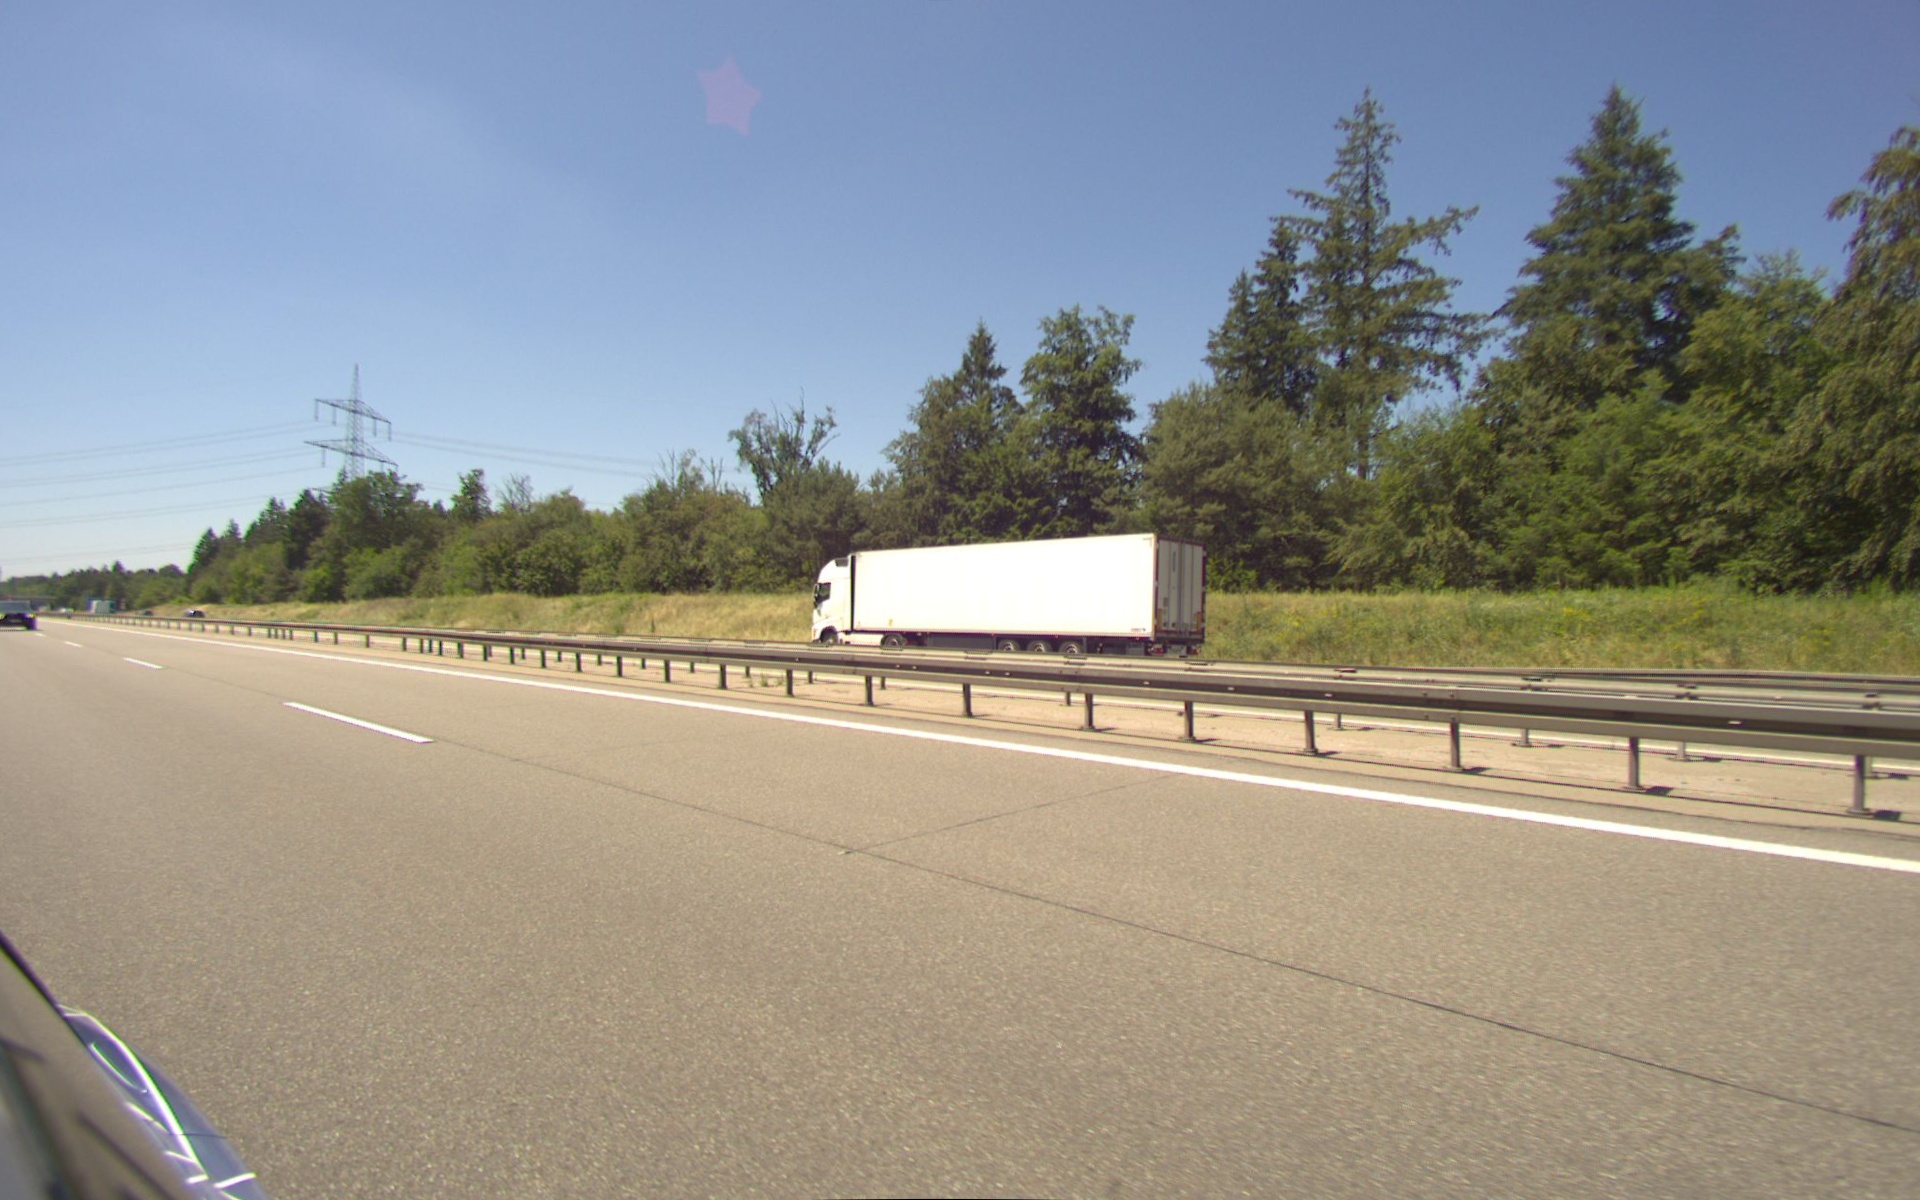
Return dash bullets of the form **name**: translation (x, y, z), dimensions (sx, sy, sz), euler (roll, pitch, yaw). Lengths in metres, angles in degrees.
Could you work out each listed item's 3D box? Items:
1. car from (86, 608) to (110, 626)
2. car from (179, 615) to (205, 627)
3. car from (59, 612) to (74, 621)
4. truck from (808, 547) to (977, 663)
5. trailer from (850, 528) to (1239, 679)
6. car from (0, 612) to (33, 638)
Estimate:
- **car**: translation (-142.692, 2.821, 167.470), dimensions (6.875, 2.732, 2.317), euler (-1, -3, 44)
- **car**: translation (-97.726, 2.647, 128.704), dimensions (4.743, 1.521, 1.806), euler (-1, -1, 43)
- **car**: translation (-162.578, 3.015, 184.104), dimensions (4.677, 1.402, 1.672), euler (-1, -3, 44)
- **truck**: translation (-2.649, 0.196, 38.474), dimensions (3.177, 4.048, 6.220), euler (0, -1, -44)
- **trailer**: translation (2.011, 0.143, 33.600), dimensions (3.177, 4.073, 14.372), euler (0, -1, -44)
- **car**: translation (-56.448, 1.483, 60.153), dimensions (1.872, 1.436, 4.265), euler (-1, 0, -44)
